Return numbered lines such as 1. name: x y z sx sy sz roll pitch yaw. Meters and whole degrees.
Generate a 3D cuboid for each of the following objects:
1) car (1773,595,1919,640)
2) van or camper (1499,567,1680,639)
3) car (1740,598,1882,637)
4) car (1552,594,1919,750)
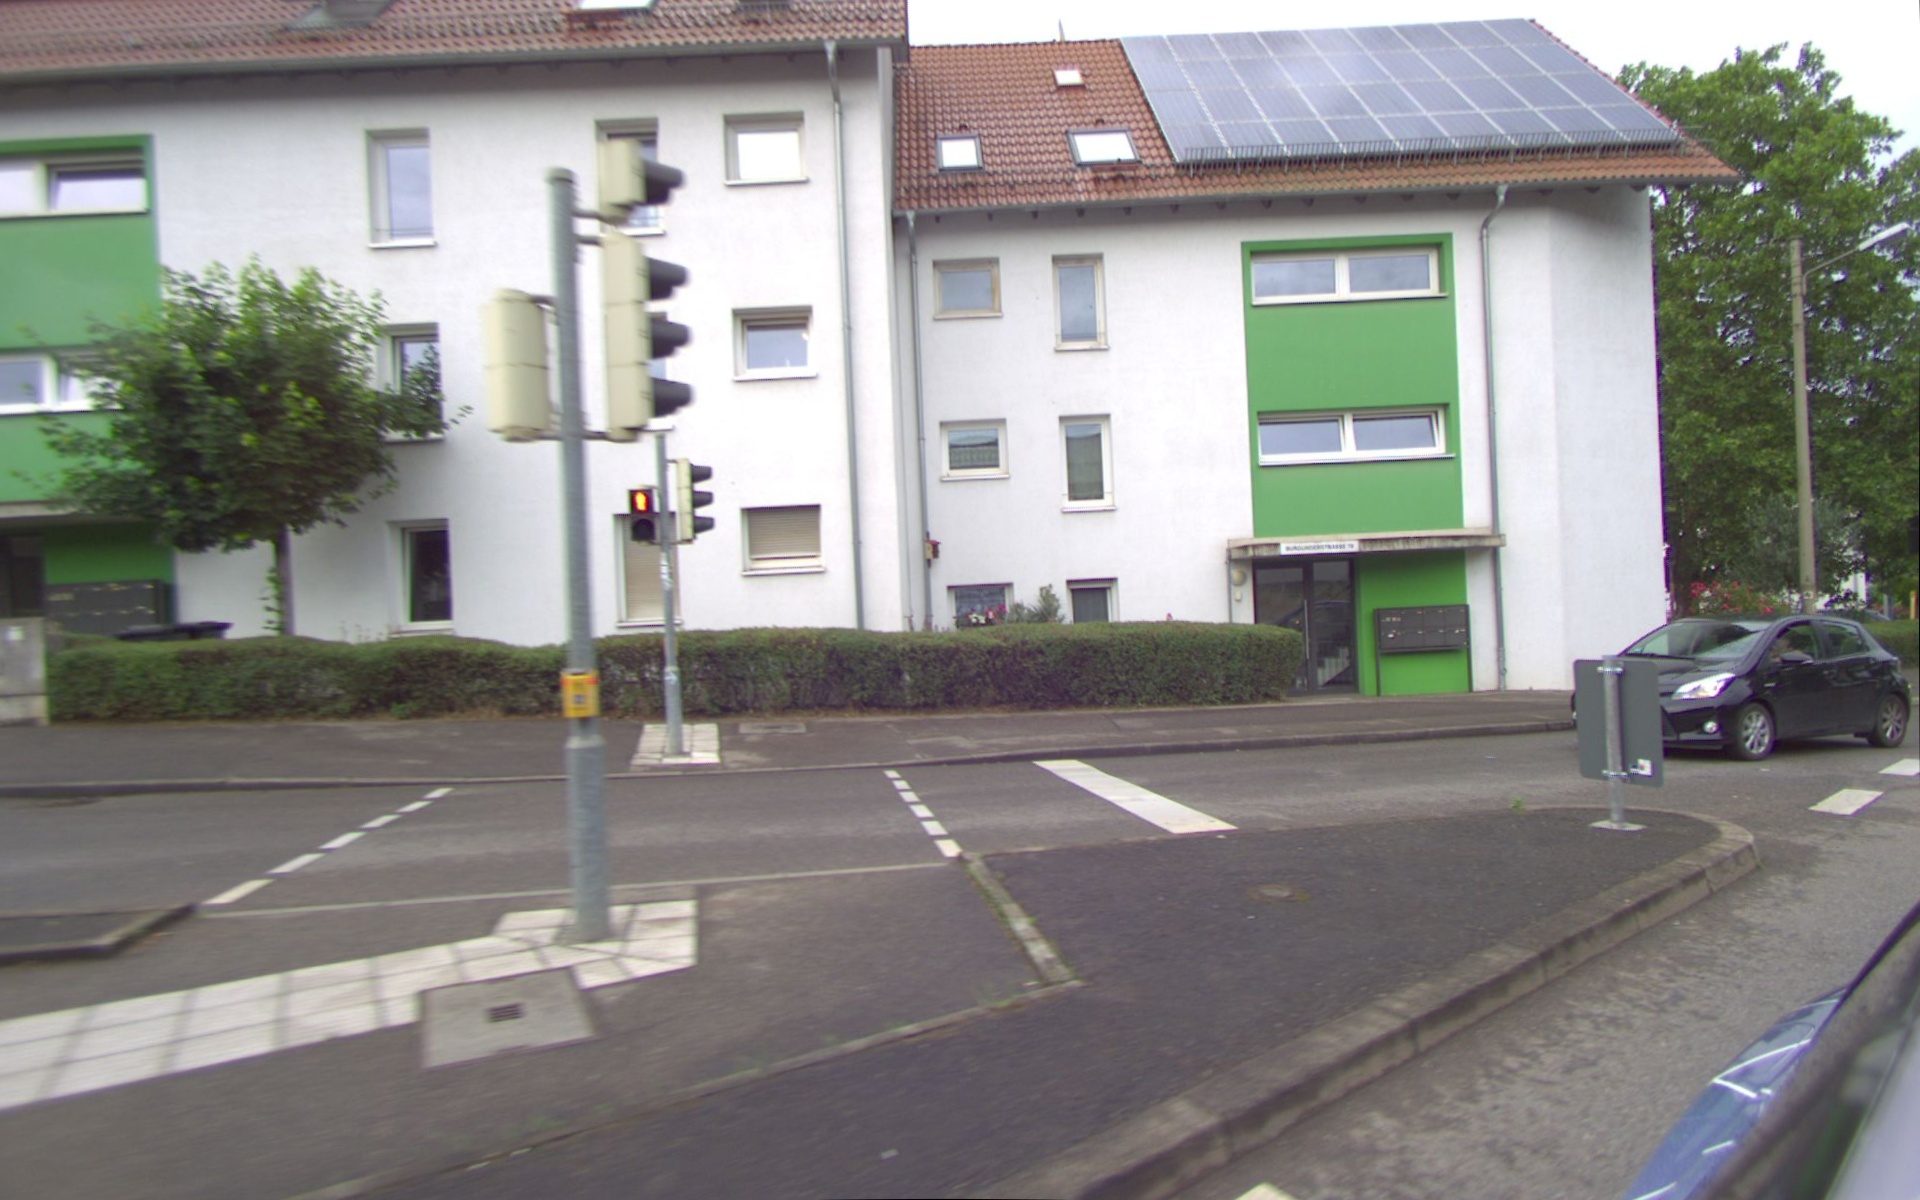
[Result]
1. car: 32.564 0.637 36.826 4.357 1.533 1.978 -2 -1 31
2. van or camper: 18.177 0.118 29.467 4.289 1.928 1.979 -2 -1 30
3. car: 33.361 0.691 39.848 3.966 1.483 1.841 -1 -1 31
4. car: 8.717 0.711 11.155 3.916 1.477 1.648 0 -2 -21
